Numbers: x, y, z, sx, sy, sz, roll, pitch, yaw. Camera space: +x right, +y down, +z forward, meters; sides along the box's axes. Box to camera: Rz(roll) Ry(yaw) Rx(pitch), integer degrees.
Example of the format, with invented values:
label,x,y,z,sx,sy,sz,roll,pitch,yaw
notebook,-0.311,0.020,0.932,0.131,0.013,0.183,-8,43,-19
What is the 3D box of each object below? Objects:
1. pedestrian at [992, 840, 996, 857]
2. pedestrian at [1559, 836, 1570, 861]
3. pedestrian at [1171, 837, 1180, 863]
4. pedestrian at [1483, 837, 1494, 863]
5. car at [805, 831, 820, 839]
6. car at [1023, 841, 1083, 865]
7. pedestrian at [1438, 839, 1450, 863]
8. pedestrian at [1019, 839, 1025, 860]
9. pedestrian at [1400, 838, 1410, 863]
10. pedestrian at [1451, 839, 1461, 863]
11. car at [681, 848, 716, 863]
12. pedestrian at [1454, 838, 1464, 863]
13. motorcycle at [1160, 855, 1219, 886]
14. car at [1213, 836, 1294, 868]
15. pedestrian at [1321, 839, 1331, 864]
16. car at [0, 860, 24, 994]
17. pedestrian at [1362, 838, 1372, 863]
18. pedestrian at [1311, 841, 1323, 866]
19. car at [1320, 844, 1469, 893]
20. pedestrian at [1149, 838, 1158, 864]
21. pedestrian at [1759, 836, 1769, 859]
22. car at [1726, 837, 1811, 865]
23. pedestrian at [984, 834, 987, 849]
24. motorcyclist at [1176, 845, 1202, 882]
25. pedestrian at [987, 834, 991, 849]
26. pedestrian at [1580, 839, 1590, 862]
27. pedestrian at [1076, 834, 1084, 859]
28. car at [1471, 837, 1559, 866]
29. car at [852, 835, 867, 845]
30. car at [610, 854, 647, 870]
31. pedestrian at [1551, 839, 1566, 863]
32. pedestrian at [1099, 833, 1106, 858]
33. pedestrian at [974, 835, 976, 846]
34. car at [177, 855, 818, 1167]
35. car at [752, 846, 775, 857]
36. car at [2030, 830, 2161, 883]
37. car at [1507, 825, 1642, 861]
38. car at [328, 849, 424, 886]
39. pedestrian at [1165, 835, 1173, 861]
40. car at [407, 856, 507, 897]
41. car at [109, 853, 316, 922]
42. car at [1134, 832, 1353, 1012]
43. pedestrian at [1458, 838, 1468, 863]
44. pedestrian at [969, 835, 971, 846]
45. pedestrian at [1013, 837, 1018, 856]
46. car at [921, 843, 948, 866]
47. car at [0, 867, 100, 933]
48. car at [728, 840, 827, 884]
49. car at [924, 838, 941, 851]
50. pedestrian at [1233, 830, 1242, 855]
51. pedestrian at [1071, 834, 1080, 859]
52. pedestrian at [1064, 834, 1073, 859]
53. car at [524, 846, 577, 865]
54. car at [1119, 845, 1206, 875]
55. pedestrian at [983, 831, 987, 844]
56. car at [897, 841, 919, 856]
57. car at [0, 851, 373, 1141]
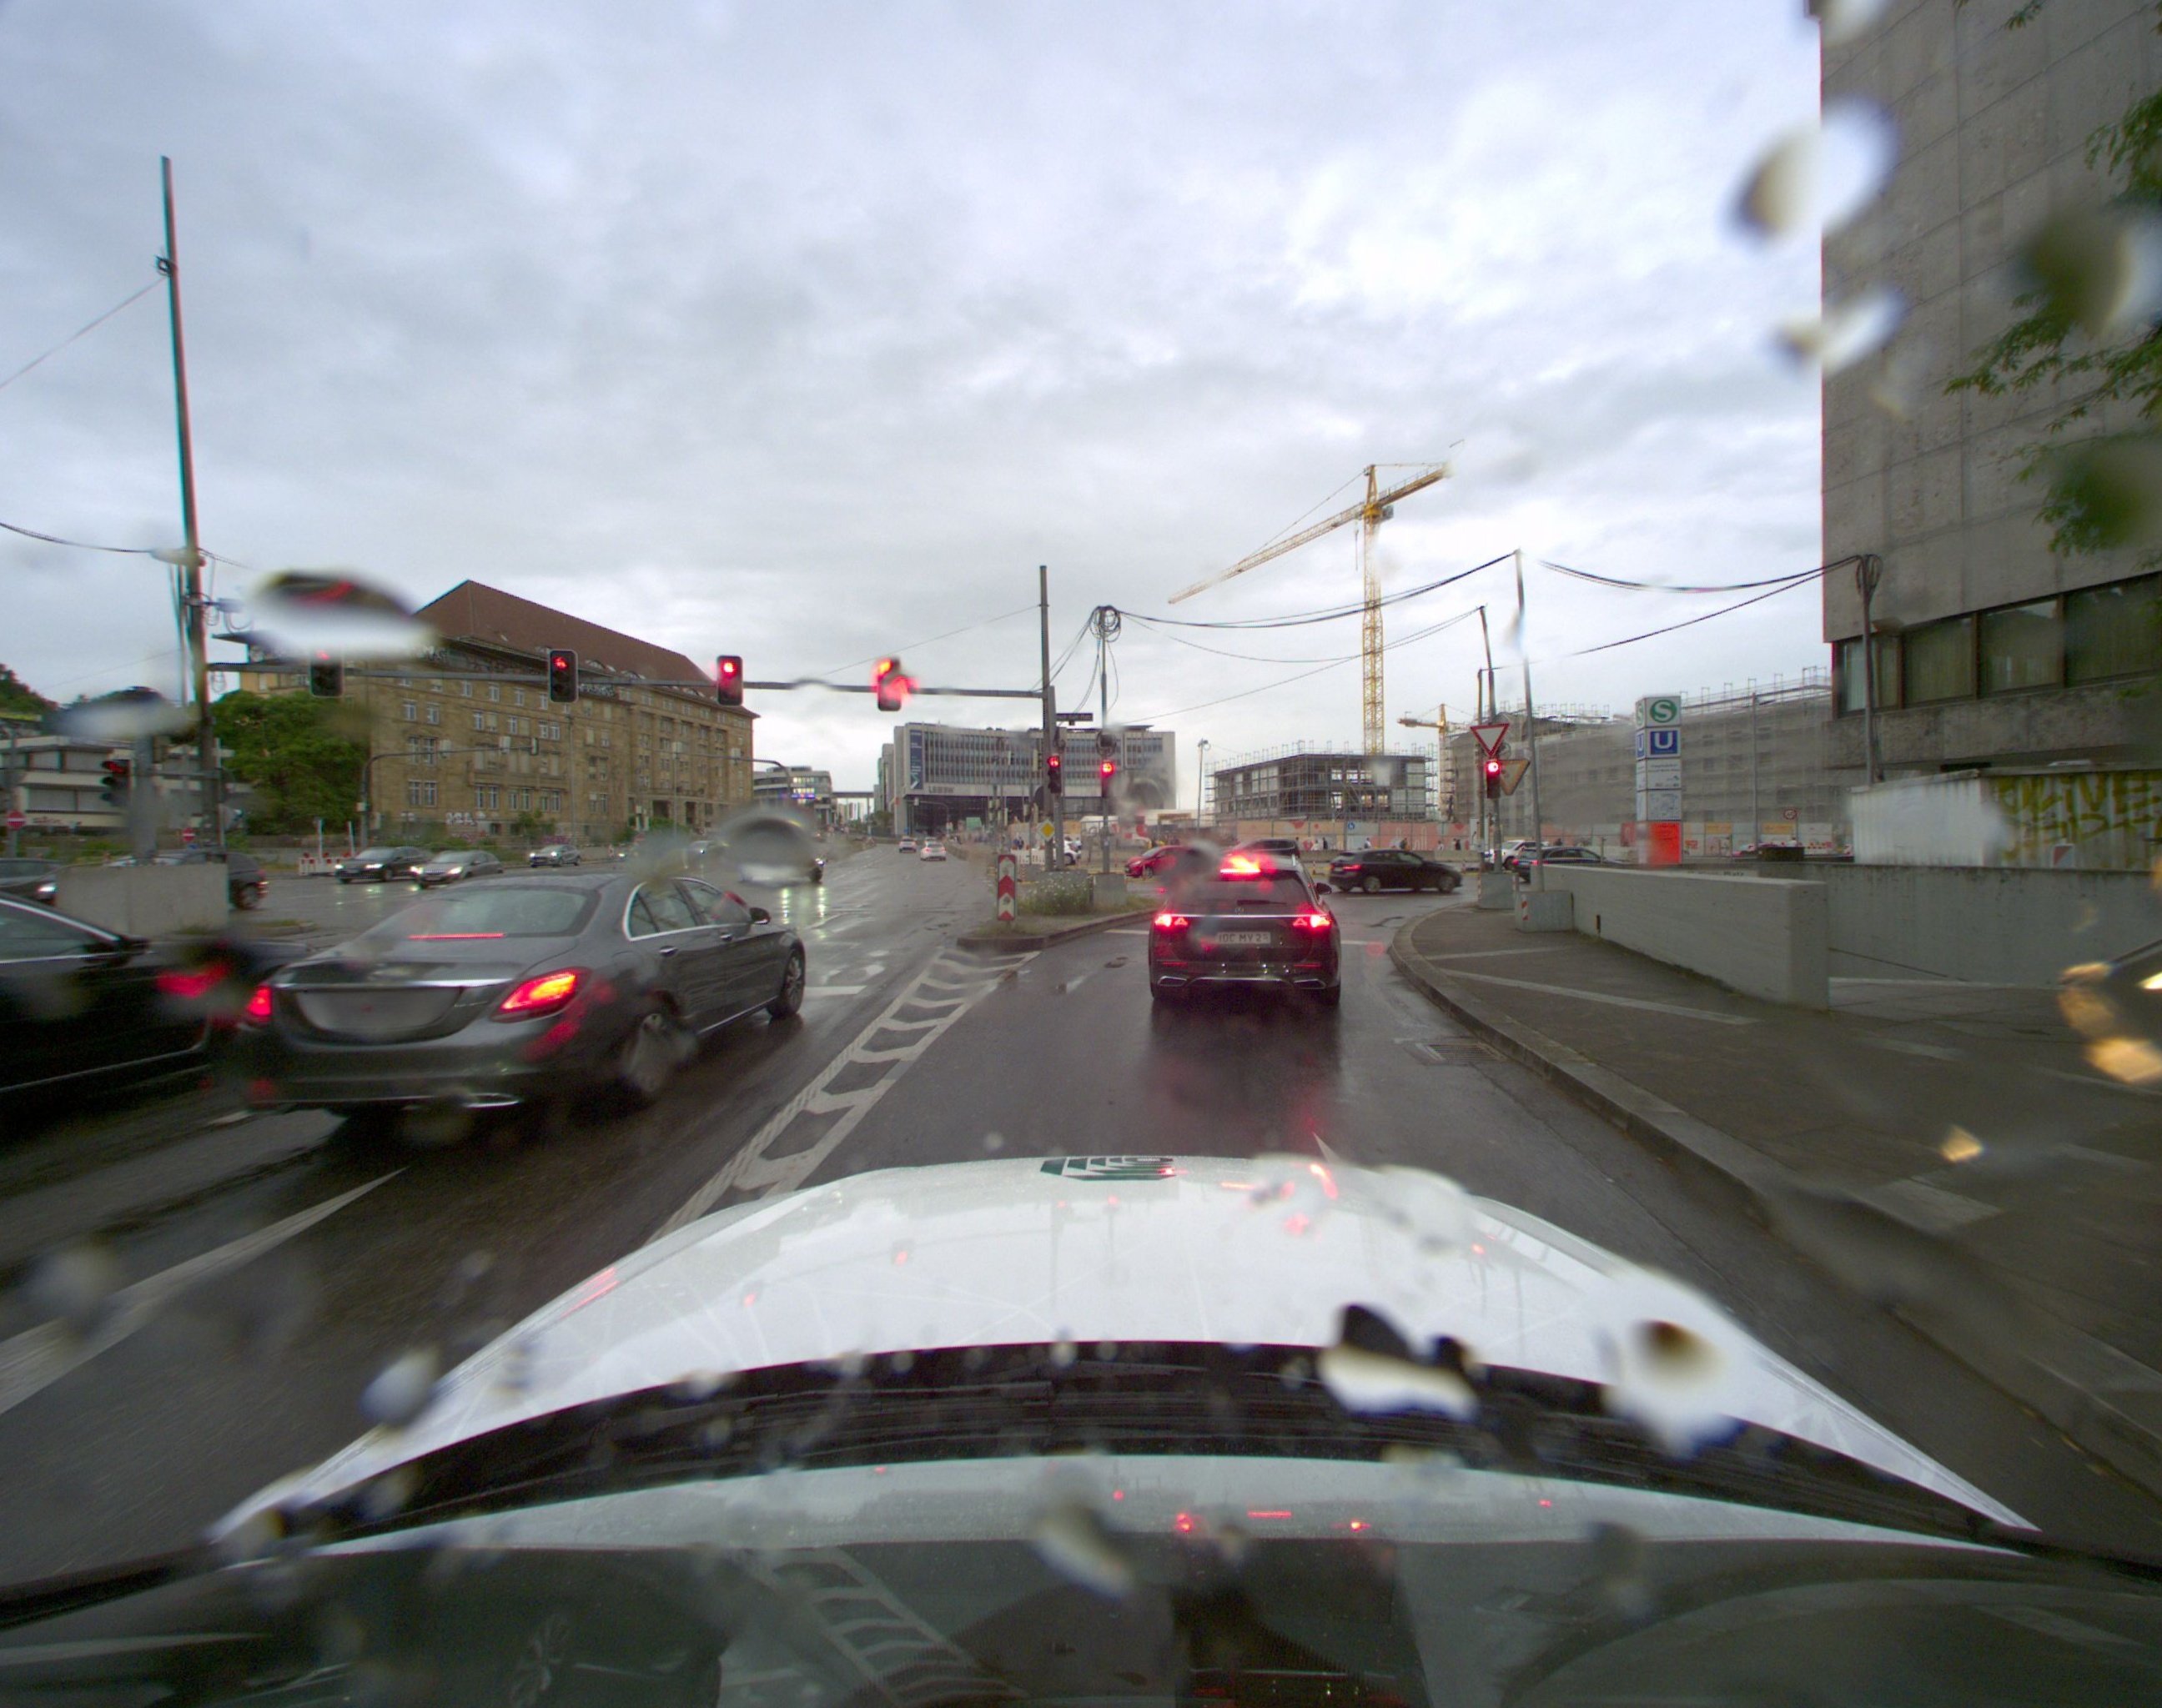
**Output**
label,x,y,z,sx,sy,sz,roll,pitch,yaw
pedestrian,-9.911,-0.652,92.406,0.361,1.898,0.574,0,-1,-14
pedestrian,36.496,-0.439,61.508,0.574,1.898,0.361,0,-1,-8
pedestrian,6.897,-0.293,59.313,0.573,1.898,0.362,0,-1,-5
pedestrian,30.149,-0.270,60.283,0.574,1.898,0.361,0,-1,-8
car,-66.775,-4.816,202.539,2.010,1.816,3.953,1,-1,-40
car,-1.794,-0.039,52.809,3.520,1.473,1.794,0,-1,16
pedestrian,28.934,-0.262,64.927,0.656,1.901,0.630,0,-1,-11
pedestrian,-5.295,-0.386,73.351,0.362,1.898,0.572,0,-1,-22
pedestrian,24.218,-0.245,60.864,0.574,1.898,0.361,0,-1,-8
pedestrian,28.861,-0.228,62.743,0.574,1.898,0.361,0,-1,-10
car,-34.888,0.155,74.382,1.767,1.260,4.181,0,-1,-9
pedestrian,28.905,-0.234,62.253,0.574,1.898,0.361,0,-1,-10
motorcycle,4.004,0.614,30.082,2.125,1.108,0.852,0,-1,6
car,9.606,-0.113,45.479,3.991,1.734,1.991,0,-1,-13
pedestrian,18.618,-0.221,61.917,0.574,1.898,0.361,0,-1,-8
car,-13.990,0.855,7.965,1.774,1.600,4.080,0,-1,7
pedestrian,21.404,-0.240,60.876,0.574,1.898,0.361,0,-1,-8
pedestrian,18.153,-0.068,62.554,0.656,1.901,0.630,0,-1,-11
car,10.086,0.462,26.376,4.096,1.507,1.994,0,-1,-8
pedestrian,5.423,-0.220,60.864,0.570,1.898,0.364,0,-1,17
pedestrian,56.910,-0.541,67.862,0.574,1.898,0.361,0,-1,-8
car,42.124,-0.154,49.959,3.990,1.708,1.991,0,-1,-13
pedestrian,-12.417,-1.605,105.838,0.361,1.898,0.574,0,-1,-14
motorcyclist,3.985,0.358,30.118,0.940,1.358,0.851,0,-1,6
pedestrian,-11.983,-1.637,105.943,0.361,1.898,0.574,0,-1,-14
pedestrian,40.852,-0.286,66.031,0.574,1.898,0.361,0,-1,-8
pedestrian,-0.065,-0.589,63.601,0.364,1.898,0.570,1,-1,-40
car,23.997,-0.120,45.082,4.048,1.552,1.989,0,-1,-16
car,-47.163,-2.870,173.357,2.009,2.014,3.956,1,-1,-36
car,-38.015,0.662,68.469,1.738,1.260,3.317,0,-1,-11
pedestrian,37.754,-0.244,64.407,0.797,1.898,0.564,0,-1,-12
pedestrian,1.677,-0.609,62.249,0.362,1.898,0.573,0,-1,-18
pedestrian,-17.655,-2.267,135.446,0.361,1.898,0.574,0,-1,-14
car,-3.538,0.756,6.202,1.779,1.402,4.482,0,1,-3
car,-38.171,-0.337,97.926,1.767,1.260,3.987,0,-1,-9
car,33.750,0.086,26.610,3.992,1.640,1.991,0,-1,-14
car,19.069,-0.403,31.585,4.091,1.345,1.997,0,-1,-5
car,-33.294,0.617,38.612,1.624,1.646,3.985,0,-1,-11
pedestrian,6.543,-0.426,60.652,0.572,1.898,0.362,0,-1,4
car,-25.876,0.905,33.946,1.698,1.574,3.984,0,-1,-11
car,-22.445,0.814,21.296,1.624,1.613,3.985,0,-1,-11
car,1.790,0.613,9.122,1.879,1.544,4.005,0,-1,11
pedestrian,28.941,-0.240,61.764,0.574,1.898,0.361,0,-1,-10
pedestrian,-18.409,-2.263,135.255,0.361,1.898,0.574,0,-1,-14
pedestrian,-6.596,-0.733,81.638,0.362,1.898,0.573,0,-1,-18
car,-11.561,0.088,64.518,1.993,1.766,4.404,0,-1,-10
car,-26.180,1.127,19.344,1.697,1.519,3.543,-2,0,-9
car,-13.437,0.358,35.939,5.038,1.798,2.012,-1,-1,42
car,-20.173,-1.351,110.529,1.733,1.639,3.414,0,2,-18
pedestrian,11.737,-0.847,61.194,0.573,1.898,0.362,0,-1,-1
pedestrian,-0.420,-0.606,63.316,0.364,1.898,0.569,-1,-1,-43
pedestrian,-0.973,-0.595,63.010,0.364,1.898,0.570,1,-1,-37
car,-36.179,0.109,55.663,1.624,1.260,3.985,0,-1,-11
car,3.631,0.276,36.582,3.540,1.304,1.657,0,-1,-16
pedestrian,-14.947,-2.570,126.708,0.520,1.898,0.574,0,-1,-14
car,-20.200,-0.630,94.927,2.001,1.640,3.972,0,-1,-21
car,-6.580,0.739,4.038,1.882,1.515,4.997,0,-1,-2
